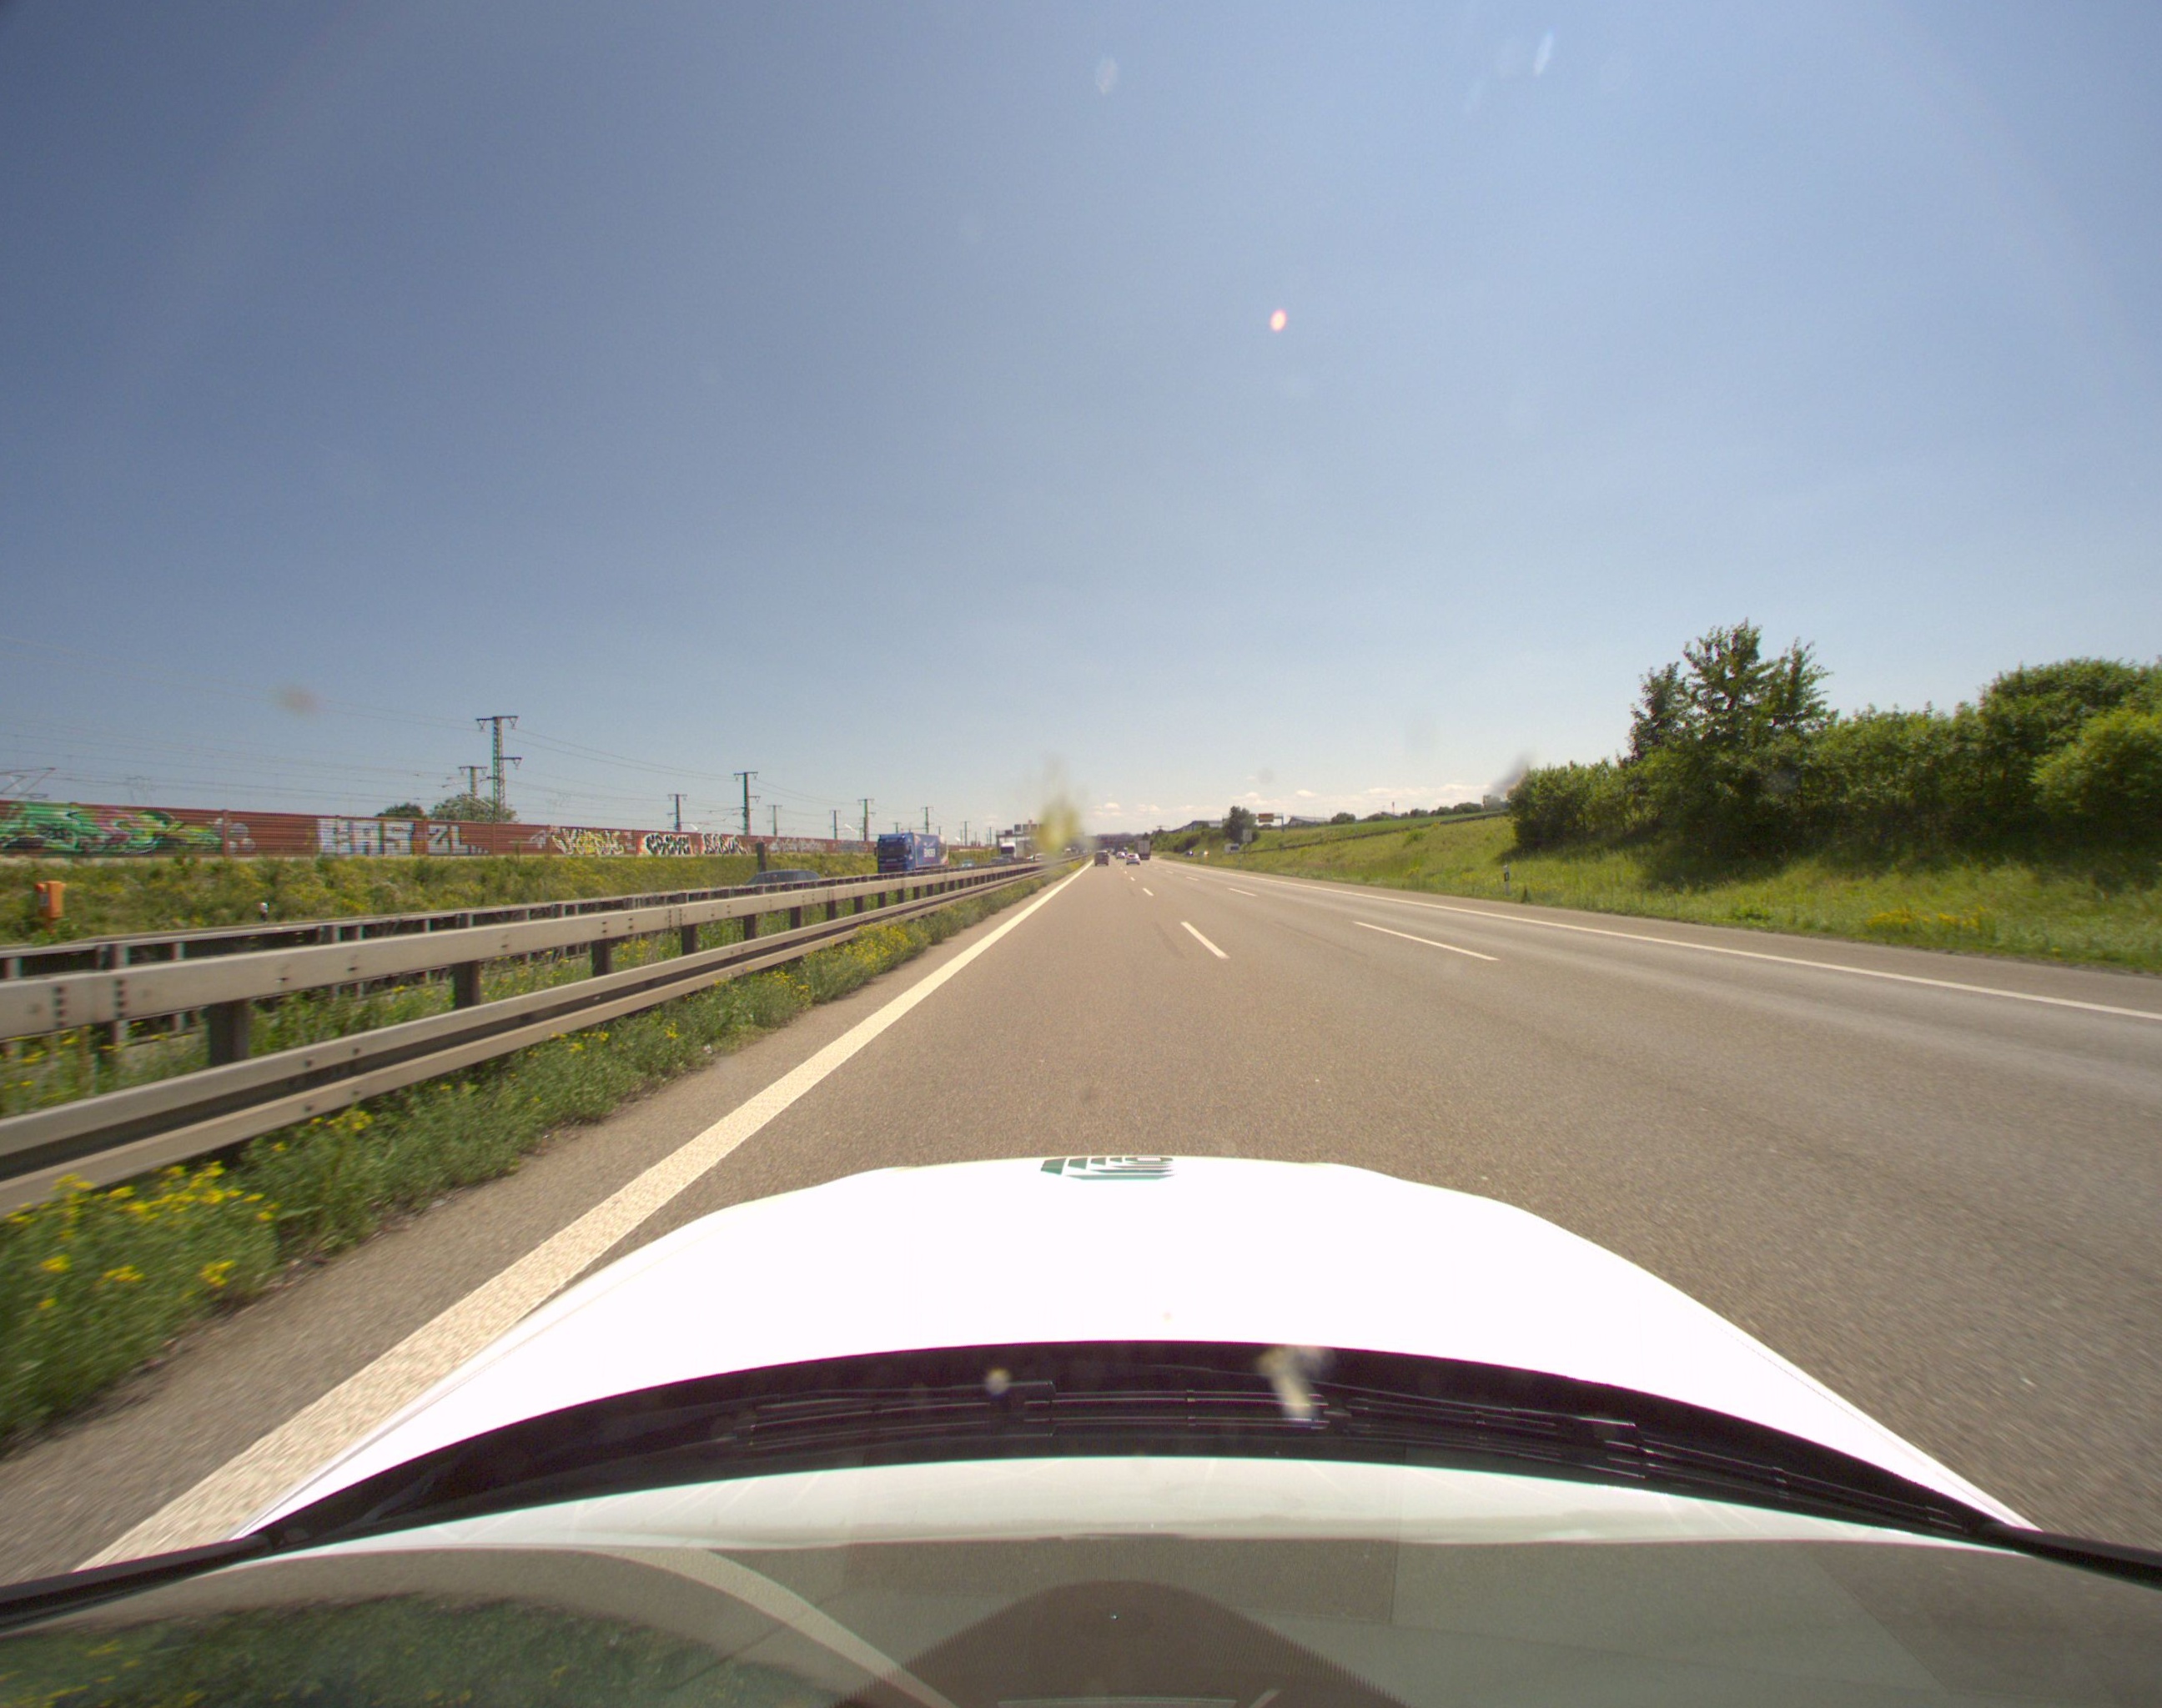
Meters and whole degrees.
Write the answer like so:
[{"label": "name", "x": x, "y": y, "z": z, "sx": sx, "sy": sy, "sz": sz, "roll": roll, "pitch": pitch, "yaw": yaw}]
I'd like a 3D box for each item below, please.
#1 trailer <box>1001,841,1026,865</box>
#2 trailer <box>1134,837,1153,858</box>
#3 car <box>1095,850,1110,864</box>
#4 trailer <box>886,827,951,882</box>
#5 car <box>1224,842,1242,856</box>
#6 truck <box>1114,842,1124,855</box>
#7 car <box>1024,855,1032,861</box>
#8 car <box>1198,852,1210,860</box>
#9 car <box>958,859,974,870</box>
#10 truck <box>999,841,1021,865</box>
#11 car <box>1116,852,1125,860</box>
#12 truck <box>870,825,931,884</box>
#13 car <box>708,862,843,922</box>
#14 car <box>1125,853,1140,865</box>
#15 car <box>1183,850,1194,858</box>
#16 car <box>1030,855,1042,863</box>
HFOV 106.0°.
[{"label": "trailer", "x": -11.937, "y": -0.199, "z": 145.600, "sx": 2.719, "sy": 4.074, "sz": 13.537, "roll": -2, "pitch": 0, "yaw": 2}, {"label": "trailer", "x": 12.319, "y": -1.251, "z": 161.821, "sx": 3.165, "sy": 4.059, "sz": 9.443, "roll": -2, "pitch": 0, "yaw": 2}, {"label": "car", "x": 2.718, "y": 0.382, "z": 103.216, "sx": 1.874, "sy": 1.775, "sz": 4.001, "roll": -2, "pitch": -1, "yaw": 2}, {"label": "trailer", "x": -14.332, "y": 0.040, "z": 72.988, "sx": 2.877, "sy": 4.407, "sz": 12.097, "roll": -2, "pitch": 0, "yaw": 2}, {"label": "car", "x": 27.107, "y": -0.918, "z": 145.514, "sx": 2.267, "sy": 2.528, "sz": 5.400, "roll": -1, "pitch": 0, "yaw": 1}, {"label": "truck", "x": 10.074, "y": -1.565, "z": 217.265, "sx": 2.346, "sy": 3.416, "sz": 6.060, "roll": -1, "pitch": 0, "yaw": 2}, {"label": "car", "x": -14.230, "y": 1.184, "z": 219.014, "sx": 1.714, "sy": 1.544, "sz": 3.811, "roll": -1, "pitch": 0, "yaw": 2}, {"label": "car", "x": 25.173, "y": 0.403, "z": 166.754, "sx": 1.988, "sy": 1.508, "sz": 3.998, "roll": 0, "pitch": -1, "yaw": -1}, {"label": "car", "x": -16.723, "y": 1.459, "z": 118.569, "sx": 1.747, "sy": 1.519, "sz": 3.838, "roll": -1, "pitch": 0, "yaw": 2}, {"label": "truck", "x": -12.183, "y": -0.179, "z": 139.674, "sx": 2.719, "sy": 4.072, "sz": 6.384, "roll": -2, "pitch": 0, "yaw": 2}, {"label": "car", "x": 8.387, "y": 0.467, "z": 174.381, "sx": 1.873, "sy": 1.526, "sz": 4.003, "roll": -1, "pitch": 0, "yaw": 3}, {"label": "truck", "x": -14.555, "y": 0.058, "z": 66.332, "sx": 2.877, "sy": 4.407, "sz": 7.506, "roll": -2, "pitch": 0, "yaw": 2}, {"label": "car", "x": -8.423, "y": 0.979, "z": 22.934, "sx": 1.986, "sy": 1.464, "sz": 4.387, "roll": -1, "pitch": 0, "yaw": 2}, {"label": "car", "x": 6.882, "y": 0.710, "z": 108.023, "sx": 1.872, "sy": 1.526, "sz": 4.005, "roll": -1, "pitch": 0, "yaw": 4}, {"label": "car", "x": 24.670, "y": 0.012, "z": 186.572, "sx": 1.986, "sy": 1.596, "sz": 4.000, "roll": 0, "pitch": -1, "yaw": 1}, {"label": "car", "x": -8.294, "y": 0.932, "z": 150.274, "sx": 1.638, "sy": 1.461, "sz": 3.838, "roll": -1, "pitch": 0, "yaw": 2}]
